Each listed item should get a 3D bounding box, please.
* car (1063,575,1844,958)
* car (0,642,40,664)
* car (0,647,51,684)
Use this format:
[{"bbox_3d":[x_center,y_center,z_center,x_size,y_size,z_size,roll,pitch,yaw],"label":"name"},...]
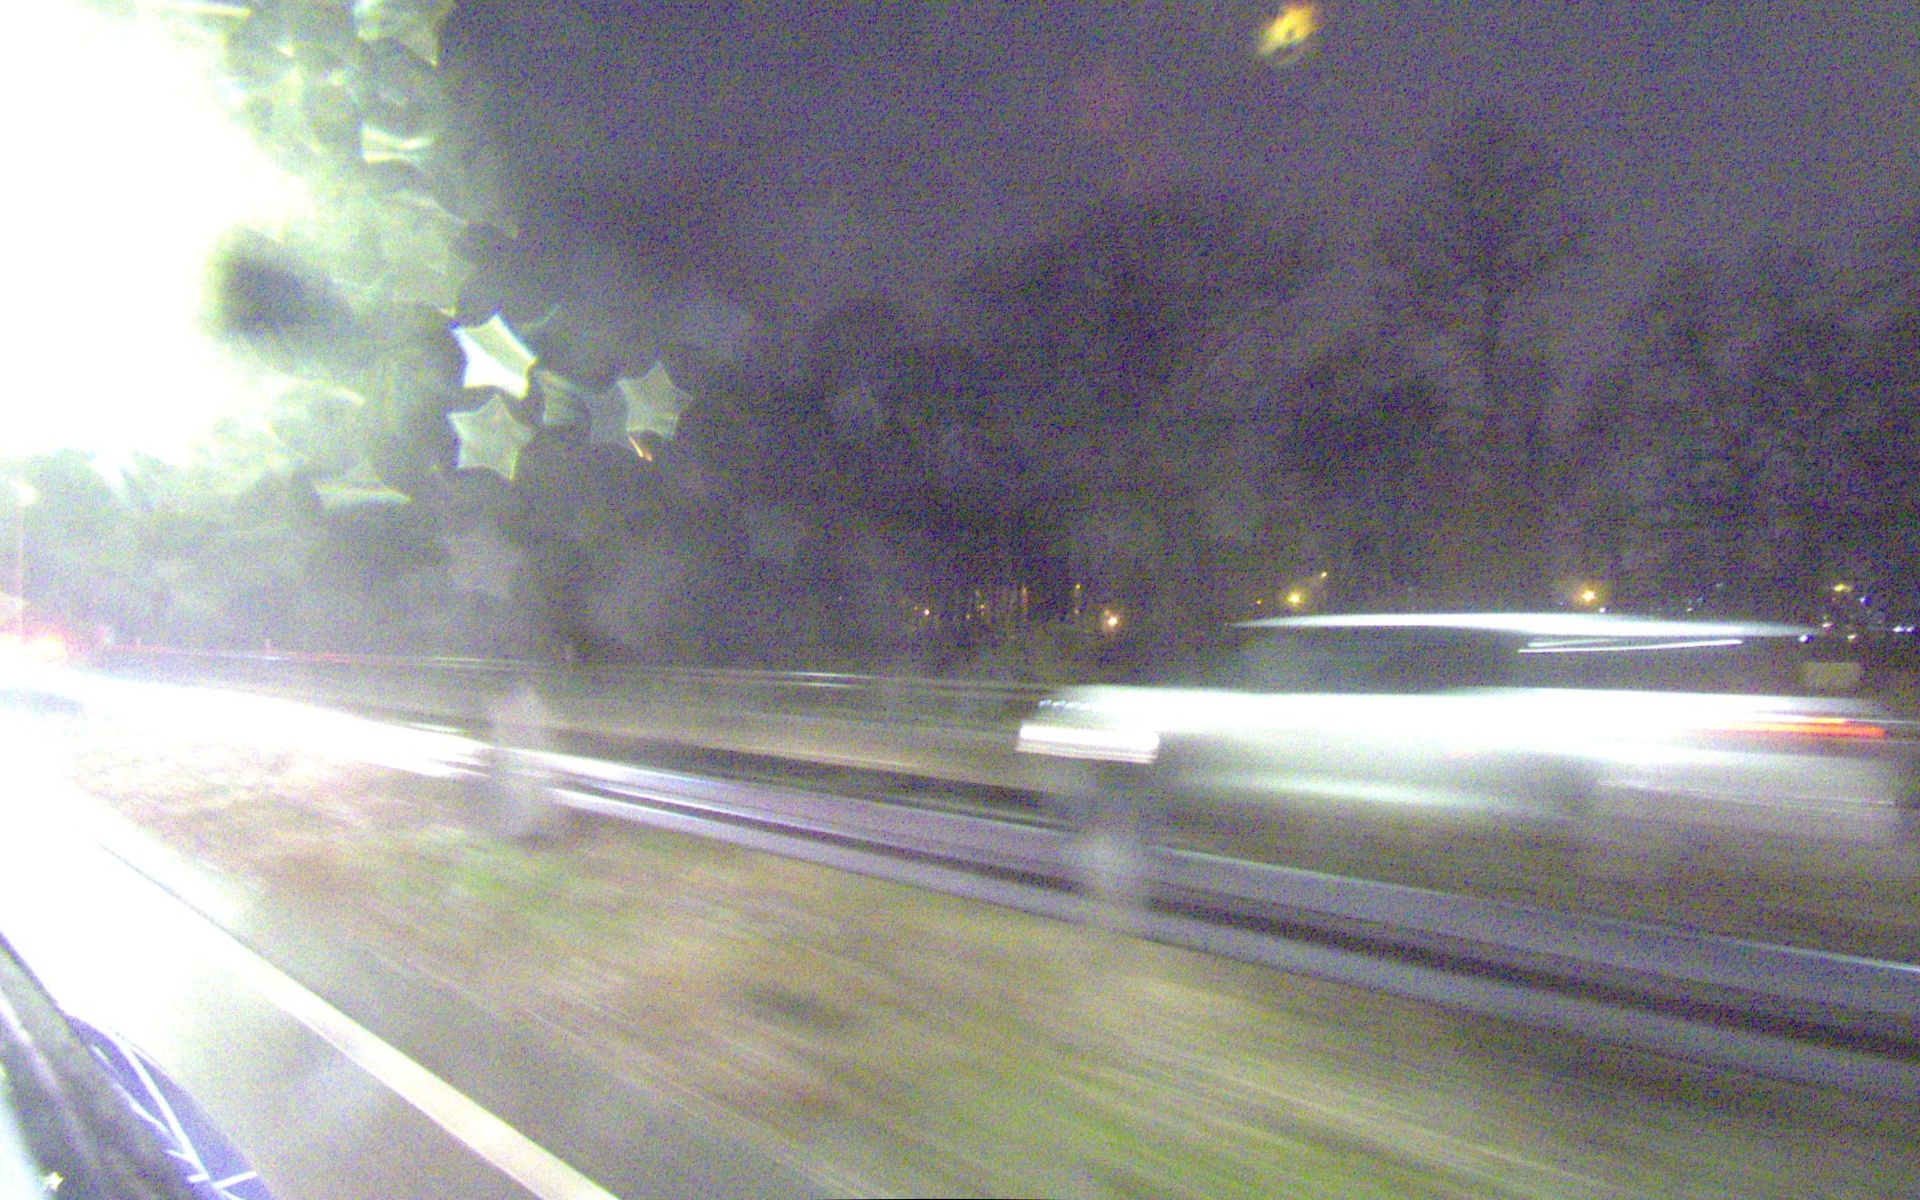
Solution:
[{"bbox_3d":[2.757,0.790,6.296,3.995,1.664,1.604,-1,-3,38],"label":"car"},{"bbox_3d":[-61.420,3.425,65.993,4.161,1.392,1.594,-2,-4,41],"label":"car"},{"bbox_3d":[-41.158,2.824,43.960,4.775,1.487,1.837,-2,-3,40],"label":"car"}]
